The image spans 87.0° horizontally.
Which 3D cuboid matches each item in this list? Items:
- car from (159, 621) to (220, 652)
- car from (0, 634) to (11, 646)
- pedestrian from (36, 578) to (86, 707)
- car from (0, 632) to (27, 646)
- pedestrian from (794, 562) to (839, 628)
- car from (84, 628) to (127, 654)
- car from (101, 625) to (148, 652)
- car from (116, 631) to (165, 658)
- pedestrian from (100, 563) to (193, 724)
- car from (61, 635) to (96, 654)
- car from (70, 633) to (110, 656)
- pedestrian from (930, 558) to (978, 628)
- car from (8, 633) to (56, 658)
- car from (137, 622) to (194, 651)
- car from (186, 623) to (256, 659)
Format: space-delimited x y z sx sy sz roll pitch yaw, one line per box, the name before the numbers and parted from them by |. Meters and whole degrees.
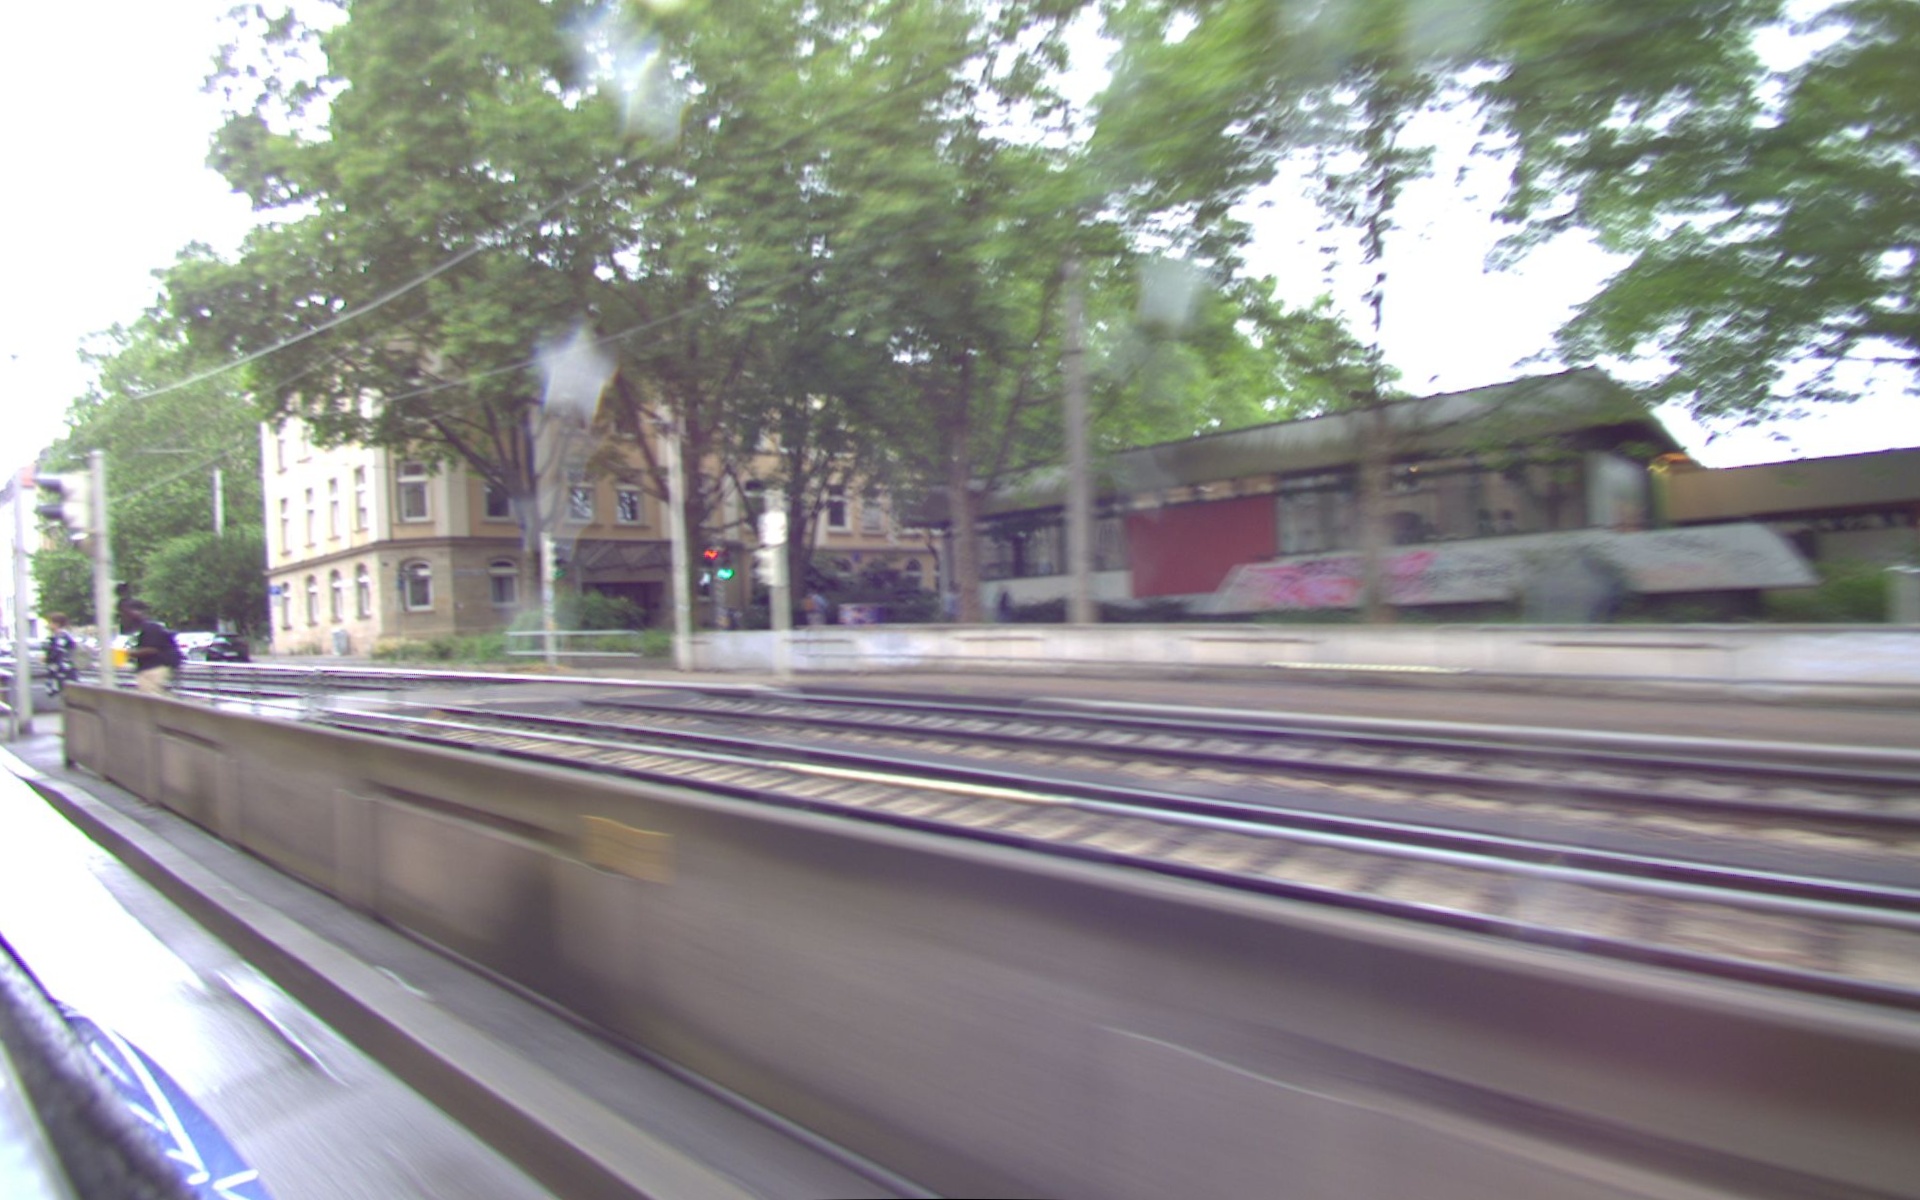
car | -37.633 1.769 49.414 3.514 1.411 1.625 -2 -1 40
car | -93.596 3.922 98.616 2.907 1.175 1.309 -2 -1 40
pedestrian | -11.826 0.547 13.320 0.427 1.651 0.482 -2 0 -39
car | -82.629 3.375 88.332 2.907 1.175 1.310 -2 -1 39
pedestrian | -4.017 -0.142 28.387 0.862 1.812 0.859 -1 0 44
car | -52.356 2.509 62.014 3.310 1.520 1.385 -2 -1 39
car | -48.862 2.253 59.141 3.496 1.460 1.465 -2 -1 39
car | -45.455 2.438 56.095 3.279 1.411 1.465 -2 -1 39
pedestrian | -9.021 0.461 11.248 0.642 1.717 0.663 -2 0 -26
car | -59.412 2.986 68.200 2.906 1.175 1.310 -2 -1 39
car | -56.088 2.863 65.224 3.310 1.389 1.385 -2 -1 39
pedestrian | -0.152 -0.181 26.600 0.858 1.812 0.863 -2 0 -43
car | -59.880 2.915 65.274 3.307 1.488 1.667 -1 1 37
car | -41.160 1.893 52.416 3.514 1.411 1.625 -2 -1 40
car | -33.984 1.849 46.506 3.806 1.488 1.867 -1 1 42
